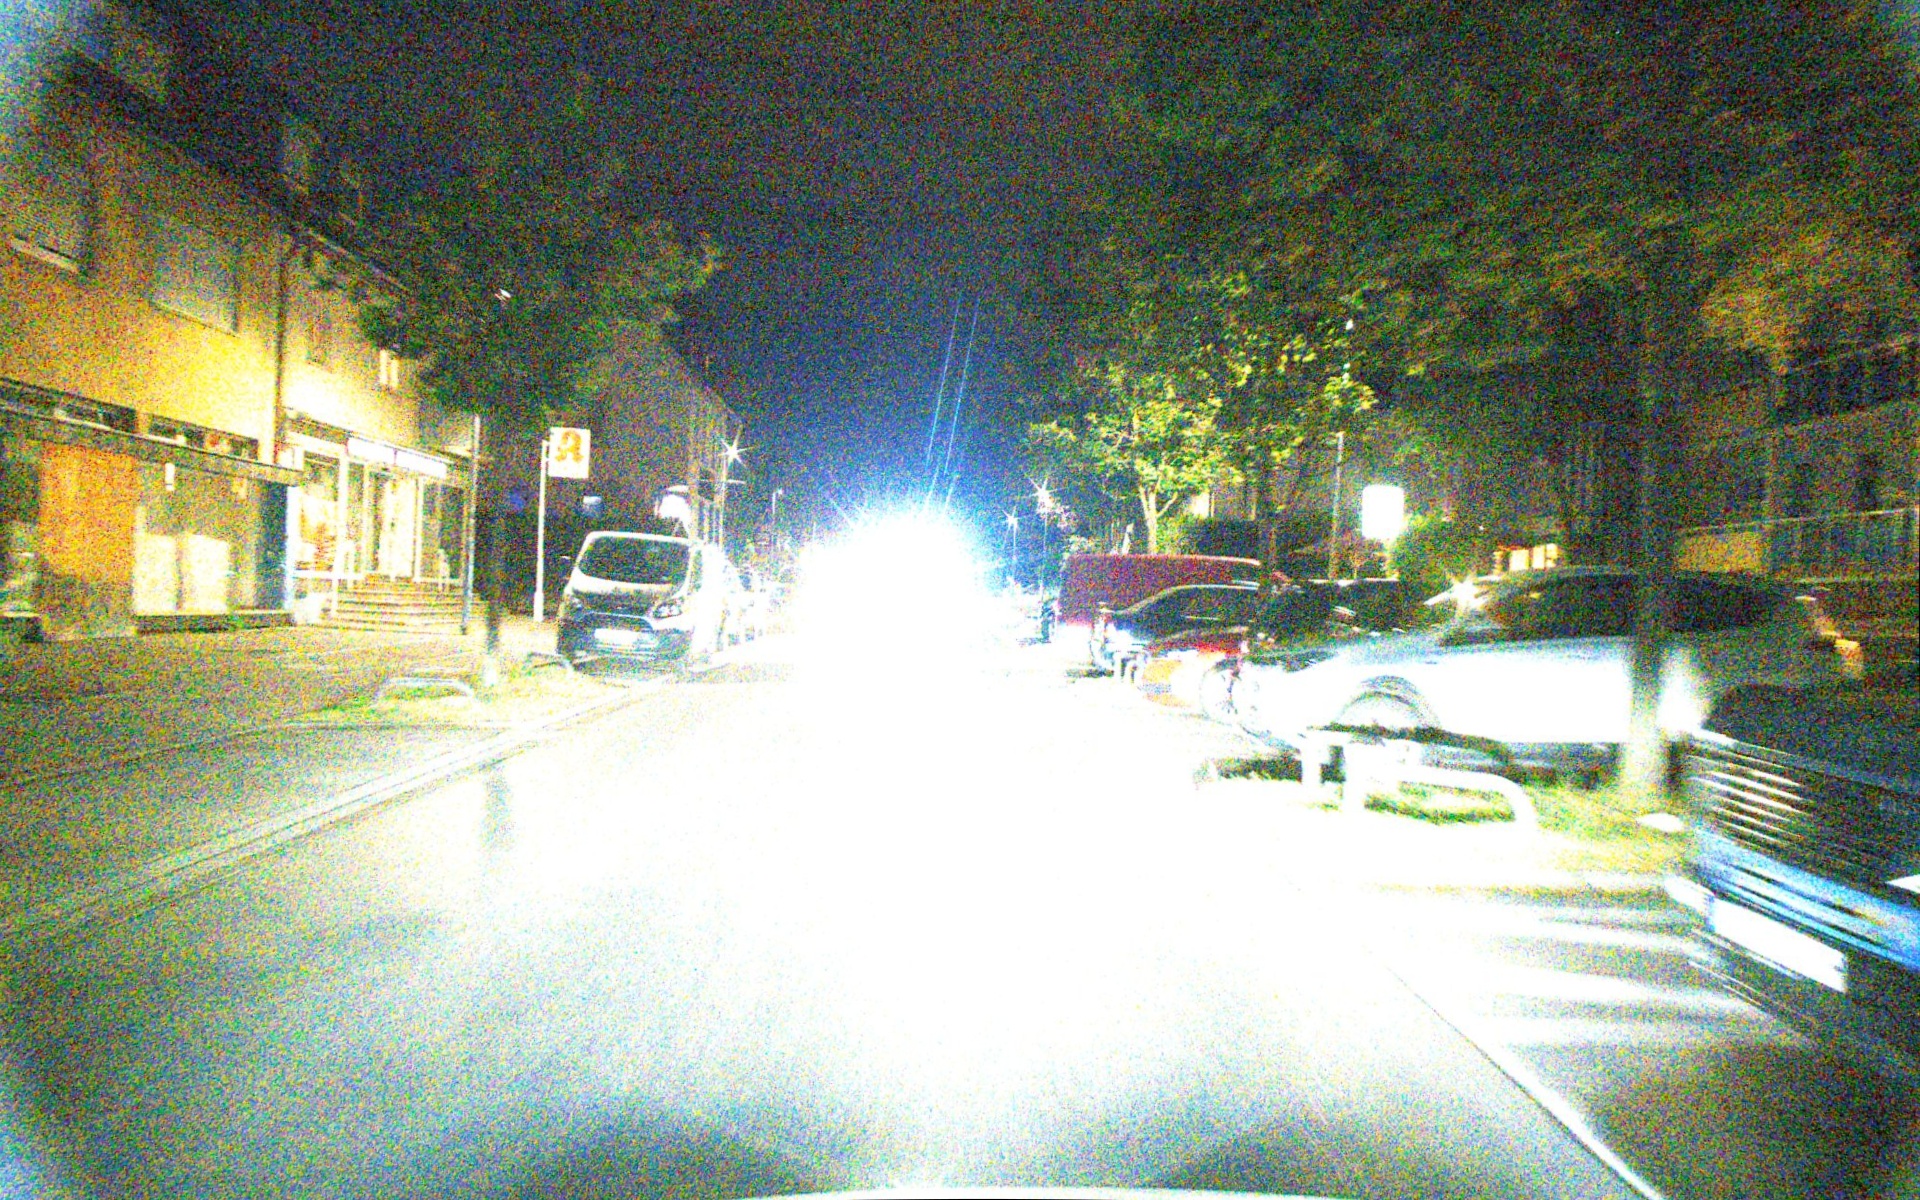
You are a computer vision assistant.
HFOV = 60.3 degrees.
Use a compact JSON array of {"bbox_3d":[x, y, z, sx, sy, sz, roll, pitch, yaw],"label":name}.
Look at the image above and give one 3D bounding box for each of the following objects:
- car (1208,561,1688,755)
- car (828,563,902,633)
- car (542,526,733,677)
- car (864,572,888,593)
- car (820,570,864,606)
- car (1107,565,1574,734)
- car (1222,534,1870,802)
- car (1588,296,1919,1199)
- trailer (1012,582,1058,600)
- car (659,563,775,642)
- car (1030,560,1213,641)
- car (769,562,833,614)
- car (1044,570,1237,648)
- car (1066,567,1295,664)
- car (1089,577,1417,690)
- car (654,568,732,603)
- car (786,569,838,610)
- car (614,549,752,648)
[{"bbox_3d":[4.459,0.493,15.605,3.905,1.584,2.000,2,1,0],"label":"car"},{"bbox_3d":[-2.514,-0.081,44.483,1.684,1.745,3.961,1,1,0],"label":"car"},{"bbox_3d":[-4.792,-0.019,25.288,2.073,1.980,4.886,3,1,-3],"label":"car"},{"bbox_3d":[-6.788,-1.400,133.964,1.638,1.618,3.987,3,0,1],"label":"car"},{"bbox_3d":[-5.235,-0.540,73.503,1.714,1.494,4.008,3,1,-2],"label":"car"},{"bbox_3d":[3.993,0.490,17.995,4.559,1.584,2.107,2,1,0],"label":"car"},{"bbox_3d":[4.243,0.458,12.567,4.187,1.727,2.001,2,1,2],"label":"car"},{"bbox_3d":[4.769,0.384,4.748,5.039,2.133,2.259,1,1,-2],"label":"car"},{"bbox_3d":[5.709,-0.684,126.444,3.363,1.019,1.954,5,0,-1],"label":"trailer"},{"bbox_3d":[-5.417,0.012,37.359,2.073,1.575,4.475,3,1,-3],"label":"car"},{"bbox_3d":[3.896,-0.006,40.147,4.263,1.848,2.032,1,1,5],"label":"car"},{"bbox_3d":[-5.569,-0.431,58.383,1.890,1.665,4.469,3,1,-2],"label":"car"},{"bbox_3d":[3.771,0.196,35.064,3.837,1.540,1.854,1,0,-2],"label":"car"},{"bbox_3d":[3.806,0.247,29.128,3.834,1.578,1.988,1,1,3],"label":"car"},{"bbox_3d":[4.065,0.441,23.484,4.308,1.444,1.935,1,1,0],"label":"car"},{"bbox_3d":[-13.786,-0.773,85.468,3.912,1.732,1.945,-1,1,-8],"label":"car"},{"bbox_3d":[-5.644,-0.418,63.529,1.735,1.494,3.965,1,1,-2],"label":"car"},{"bbox_3d":[-5.275,-0.065,32.022,2.074,1.699,4.168,3,1,-3],"label":"car"}]
